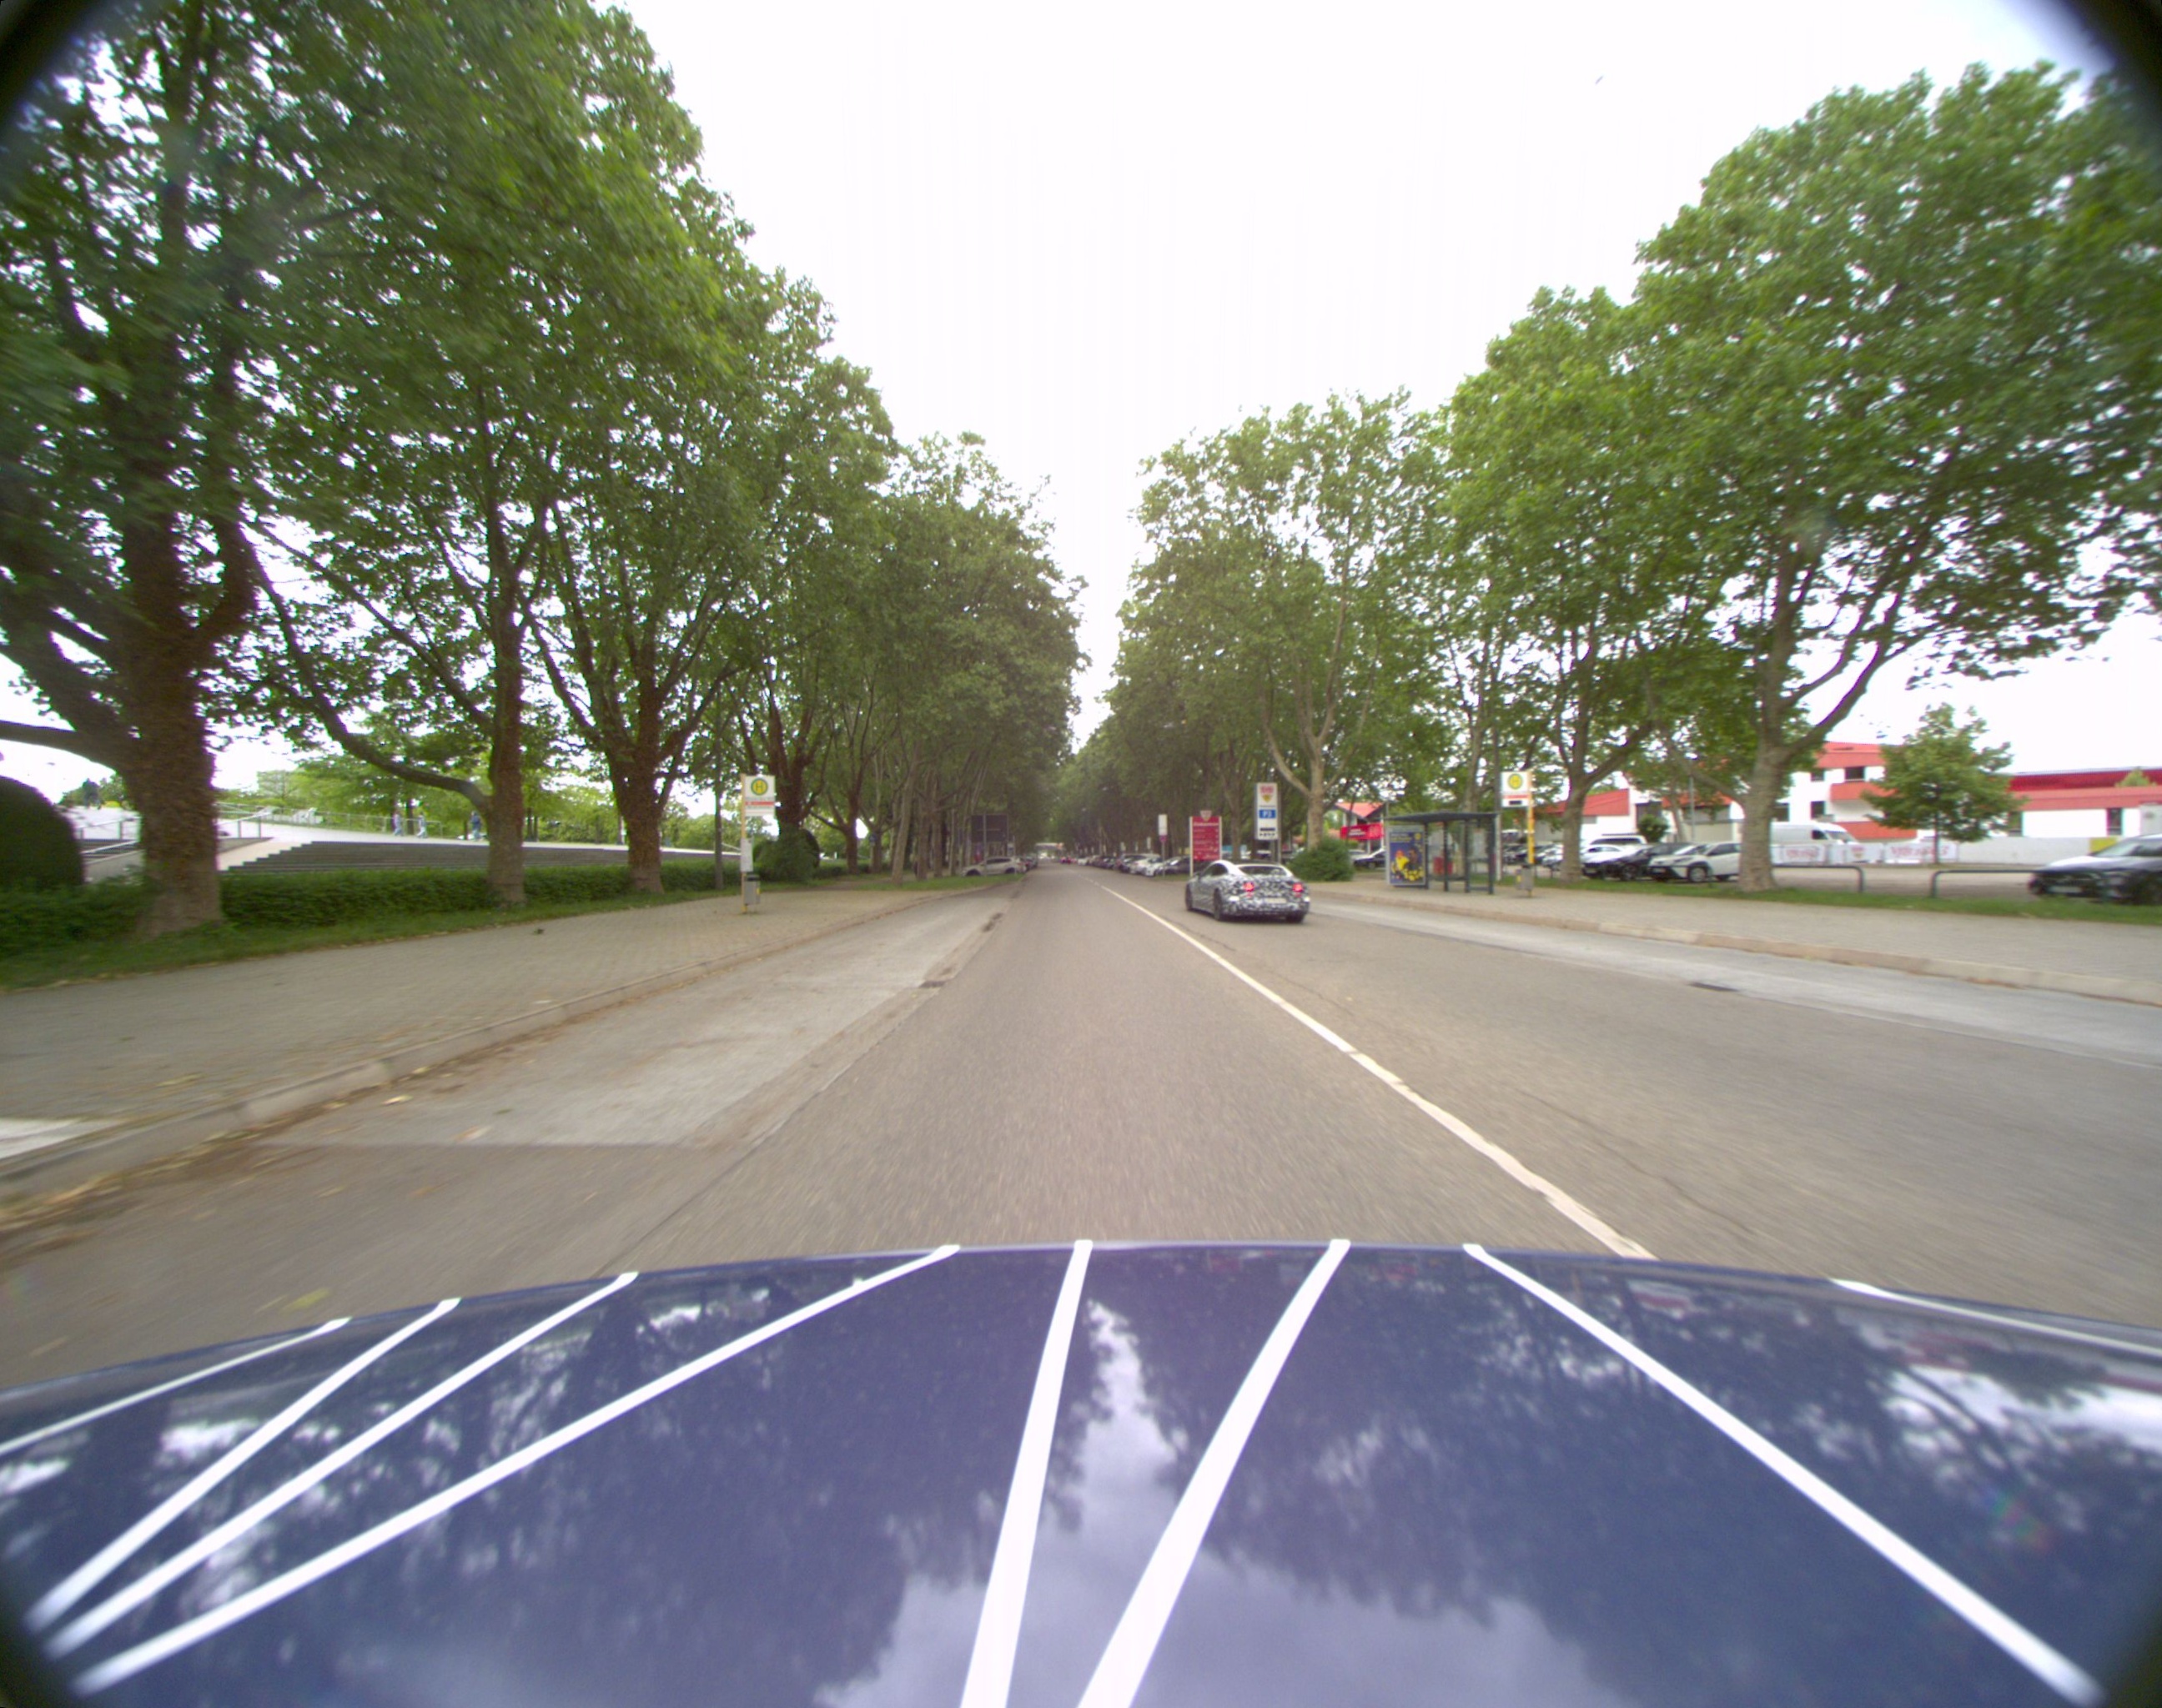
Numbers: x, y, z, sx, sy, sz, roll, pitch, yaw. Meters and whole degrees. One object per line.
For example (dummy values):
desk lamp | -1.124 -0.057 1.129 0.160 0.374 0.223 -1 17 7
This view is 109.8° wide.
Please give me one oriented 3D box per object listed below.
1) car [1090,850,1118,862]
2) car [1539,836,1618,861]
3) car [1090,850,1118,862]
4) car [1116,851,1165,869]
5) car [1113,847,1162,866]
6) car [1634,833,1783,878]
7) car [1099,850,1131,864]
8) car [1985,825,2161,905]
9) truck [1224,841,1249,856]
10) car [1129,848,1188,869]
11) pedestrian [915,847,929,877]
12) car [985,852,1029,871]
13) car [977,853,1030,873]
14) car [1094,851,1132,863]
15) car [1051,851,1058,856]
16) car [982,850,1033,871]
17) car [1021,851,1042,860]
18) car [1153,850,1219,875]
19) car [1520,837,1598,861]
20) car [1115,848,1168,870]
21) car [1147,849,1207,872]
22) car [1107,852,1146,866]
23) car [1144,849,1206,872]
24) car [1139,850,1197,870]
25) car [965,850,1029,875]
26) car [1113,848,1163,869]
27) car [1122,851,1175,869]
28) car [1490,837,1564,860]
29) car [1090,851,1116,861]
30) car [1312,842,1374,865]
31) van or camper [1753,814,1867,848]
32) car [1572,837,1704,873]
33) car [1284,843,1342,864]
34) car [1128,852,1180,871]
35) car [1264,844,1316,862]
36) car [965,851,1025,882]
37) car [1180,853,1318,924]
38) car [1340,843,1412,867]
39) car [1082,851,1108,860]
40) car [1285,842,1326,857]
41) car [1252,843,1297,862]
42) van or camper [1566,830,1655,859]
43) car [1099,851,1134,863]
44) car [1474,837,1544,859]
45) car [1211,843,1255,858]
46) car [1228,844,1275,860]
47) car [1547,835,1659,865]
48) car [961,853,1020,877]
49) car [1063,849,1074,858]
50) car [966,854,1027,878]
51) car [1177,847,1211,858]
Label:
car | 3.461 0.272 114.942 3.997 1.672 1.855 -2 1 -2
car | 33.647 -0.359 51.476 4.230 1.539 1.789 -2 1 -4
car | 3.382 0.248 112.512 3.997 1.672 1.855 -2 1 -2
car | 5.208 0.533 67.389 4.139 1.443 2.013 2 0 -1
car | 5.343 0.247 72.353 4.331 1.799 1.866 1 0 -6
car | 23.426 0.045 28.483 3.998 1.514 2.001 -2 1 -2
car | 4.327 0.360 97.741 3.942 1.698 1.751 0 0 -4
car | 23.586 0.185 16.826 4.638 1.559 2.108 -2 2 0
truck | 29.423 -1.105 143.679 3.998 2.701 2.375 -2 1 -4
car | 6.073 0.350 59.894 4.276 1.539 1.907 1 1 -5
pedestrian | -10.671 0.529 50.896 0.788 2.002 0.598 -2 1 -19
car | -7.479 0.723 77.008 4.359 1.735 1.836 -2 0 -4
car | -6.544 0.736 64.480 4.359 1.447 1.949 -2 0 -4
car | 3.907 0.342 92.442 4.476 1.473 1.702 0 0 -4
car | -8.667 -0.197 250.494 2.000 1.375 4.676 -3 0 -7
car | -6.441 0.541 66.848 4.359 1.750 1.924 -1 1 -4
car | -11.572 0.322 178.934 4.675 1.891 2.000 -3 1 2
car | 6.863 0.541 49.842 4.004 1.531 1.804 -2 1 -1
car | 33.792 -0.341 53.794 4.333 1.539 1.958 -2 1 -4
car | 5.149 0.408 65.368 4.329 1.799 1.867 1 0 -3
car | 6.855 0.429 54.788 4.005 1.485 1.831 -2 1 -3
car | 4.815 0.510 79.997 3.988 1.412 1.755 1 0 0
car | 6.417 0.428 52.233 4.004 1.377 1.911 -2 1 1
car | 6.511 0.427 57.171 3.998 1.397 1.861 -2 1 -3
car | -5.990 0.599 54.505 4.358 1.624 1.925 -2 0 -2
car | 5.184 0.400 69.830 4.329 1.785 2.036 -2 1 -3
car | 5.713 0.505 64.985 4.201 1.346 1.966 -2 1 -5
car | 32.995 -0.383 56.290 4.333 1.539 1.958 -2 1 -4
car | 3.398 0.369 119.883 3.997 1.445 1.855 -2 1 -2
car | 21.443 -0.084 62.251 4.333 1.699 2.131 -2 1 -4
van or camper | 46.316 -1.431 48.501 1.999 2.002 5.300 -2 1 -3
car | 22.785 0.014 31.188 3.998 1.316 2.001 -2 1 -3
car | 21.283 -0.090 69.757 4.531 1.752 2.295 -2 1 -4
car | 5.994 0.579 62.519 3.998 1.396 1.884 -2 1 -4
car | 21.039 -0.122 76.705 4.564 1.716 2.295 -2 1 -4
car | -6.122 0.886 54.369 3.998 2.002 2.000 -2 0 -2
car | 3.873 0.723 18.500 1.906 1.445 4.812 0 1 -5
car | 21.286 0.061 54.958 4.333 1.539 2.202 -2 1 -4
car | 2.412 0.273 131.382 4.420 1.416 1.775 0 0 -4
car | 30.734 -0.618 104.040 4.956 1.786 2.182 -2 1 -5
car | 20.846 -0.139 81.963 4.333 1.850 2.027 -2 1 -4
van or camper | 34.155 -0.644 49.084 4.333 1.699 2.131 -2 1 -4
car | 4.168 0.320 89.815 3.942 1.390 1.702 0 0 -4
car | 32.958 -0.482 58.612 4.333 1.539 1.958 -2 1 -4
car | 19.384 -0.453 96.995 4.956 1.786 2.182 -2 1 -5
car | 19.963 -0.218 89.261 4.956 1.786 2.182 -1 0 -5
car | 29.491 -0.213 43.135 4.966 1.543 2.103 -1 1 24
car | -6.988 0.836 59.102 4.358 1.624 1.925 -2 0 -2
car | -2.358 -0.131 140.807 1.847 1.501 4.013 -2 1 -4
car | -6.318 0.897 57.114 4.358 1.595 1.925 -2 0 -2
car | 18.778 -0.274 126.445 5.364 1.587 2.094 -2 1 -4
